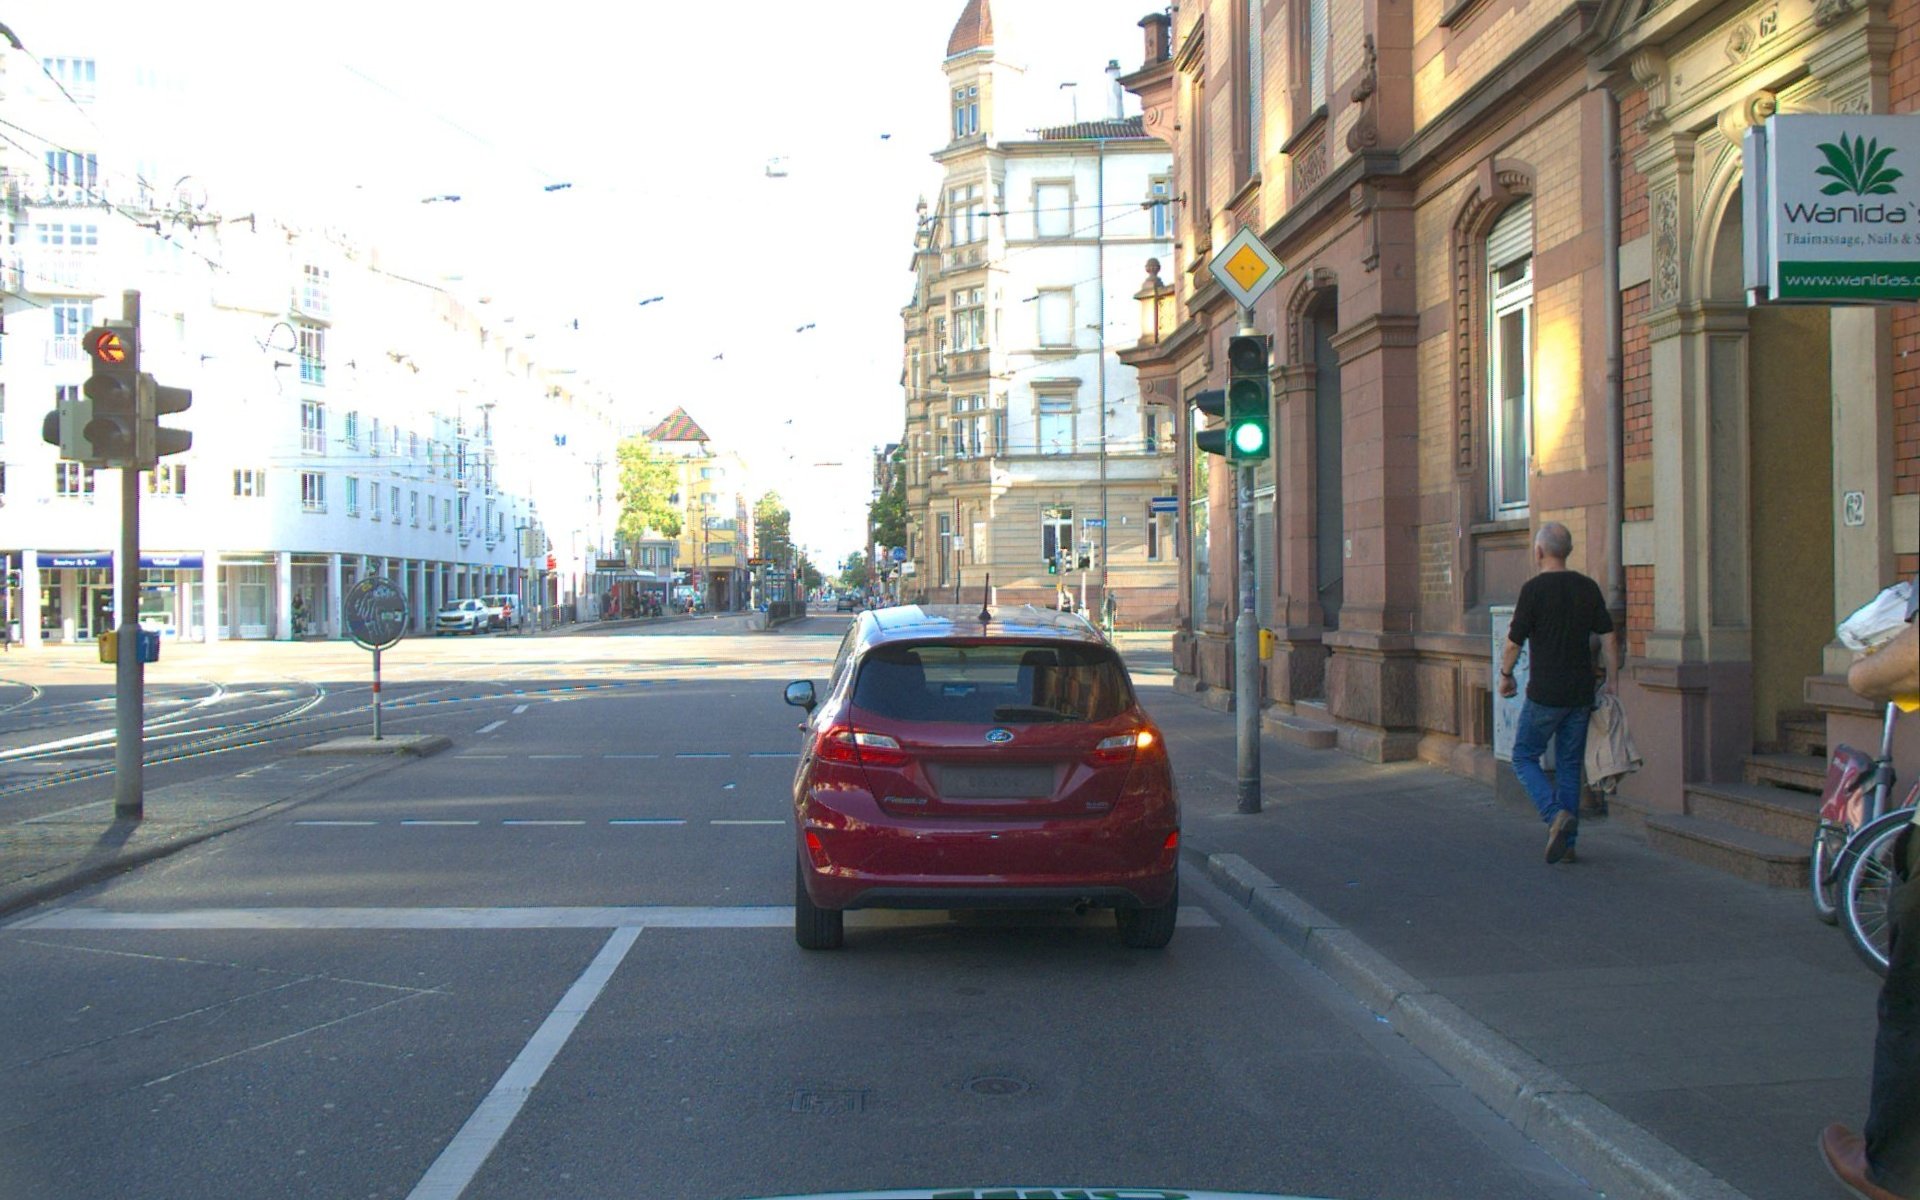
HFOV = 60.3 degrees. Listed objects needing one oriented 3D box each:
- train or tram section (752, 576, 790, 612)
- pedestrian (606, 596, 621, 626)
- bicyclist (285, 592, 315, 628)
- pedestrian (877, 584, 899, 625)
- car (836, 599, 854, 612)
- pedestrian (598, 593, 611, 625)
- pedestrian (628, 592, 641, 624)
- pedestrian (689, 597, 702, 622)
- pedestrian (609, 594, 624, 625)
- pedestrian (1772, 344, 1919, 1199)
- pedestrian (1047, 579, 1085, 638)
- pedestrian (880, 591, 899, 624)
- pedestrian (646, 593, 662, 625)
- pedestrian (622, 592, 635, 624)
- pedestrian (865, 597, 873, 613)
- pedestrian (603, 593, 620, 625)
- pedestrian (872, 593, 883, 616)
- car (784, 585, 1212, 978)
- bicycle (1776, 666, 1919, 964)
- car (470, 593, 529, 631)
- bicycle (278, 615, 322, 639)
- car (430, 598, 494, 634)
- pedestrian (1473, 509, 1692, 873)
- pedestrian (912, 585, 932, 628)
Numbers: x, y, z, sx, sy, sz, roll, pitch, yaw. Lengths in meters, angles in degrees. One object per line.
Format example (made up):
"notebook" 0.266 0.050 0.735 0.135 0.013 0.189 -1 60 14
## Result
"train or tram section" -19.078 -0.585 167.567 2.827 3.551 14.160 0 0 -3
"pedestrian" -19.900 0.609 95.044 0.687 1.721 0.666 0 -1 -28
"bicyclist" -27.214 0.411 68.227 0.823 1.493 0.897 -1 0 2
"pedestrian" -3.142 0.207 72.219 0.702 1.751 0.797 -3 -1 17
"car" -12.705 0.609 183.258 1.954 1.475 3.997 0 0 -4
"pedestrian" -19.200 0.503 89.246 0.587 1.721 0.613 -1 -1 -4
"pedestrian" -19.646 0.498 99.738 0.682 1.938 0.671 -1 -1 -7
"pedestrian" -20.192 0.711 126.324 0.865 1.938 0.929 0 -1 -20
"pedestrian" -19.442 0.540 93.587 0.687 1.721 0.666 0 -1 -28
"pedestrian" 2.340 0.437 3.487 0.805 1.927 0.754 -2 0 -4
"pedestrian" 3.364 0.273 52.583 1.003 1.838 1.081 -1 0 -7
"pedestrian" -3.037 0.333 71.284 0.703 1.354 0.795 -2 -1 -6
"pedestrian" -18.732 0.525 101.269 0.914 1.938 0.880 -1 0 -7
"pedestrian" -19.847 0.488 98.904 0.682 1.938 0.671 -1 -1 -7
"pedestrian" -9.584 0.522 174.073 0.735 1.690 0.650 1 -1 -1
"pedestrian" -19.233 0.482 91.280 0.751 1.763 0.518 -1 -1 38
"pedestrian" -6.830 0.380 137.119 0.700 1.805 0.772 -3 1 -7
"car" 0.045 0.710 8.253 1.658 1.521 3.577 1 0 -4
"bicycle" 3.681 0.803 6.560 0.337 1.013 1.241 -2 0 5
"car" -24.034 0.592 86.476 1.954 1.869 5.342 -1 0 -4
"bicycle" -27.202 1.104 68.214 0.823 0.943 2.265 -1 0 2
"car" -23.566 0.726 78.446 1.954 1.648 4.506 -1 0 -4
"pedestrian" 3.173 0.441 8.493 0.760 1.753 0.754 -2 0 -4
"pedestrian" -1.668 0.270 72.319 0.785 1.855 0.797 -2 1 -4
